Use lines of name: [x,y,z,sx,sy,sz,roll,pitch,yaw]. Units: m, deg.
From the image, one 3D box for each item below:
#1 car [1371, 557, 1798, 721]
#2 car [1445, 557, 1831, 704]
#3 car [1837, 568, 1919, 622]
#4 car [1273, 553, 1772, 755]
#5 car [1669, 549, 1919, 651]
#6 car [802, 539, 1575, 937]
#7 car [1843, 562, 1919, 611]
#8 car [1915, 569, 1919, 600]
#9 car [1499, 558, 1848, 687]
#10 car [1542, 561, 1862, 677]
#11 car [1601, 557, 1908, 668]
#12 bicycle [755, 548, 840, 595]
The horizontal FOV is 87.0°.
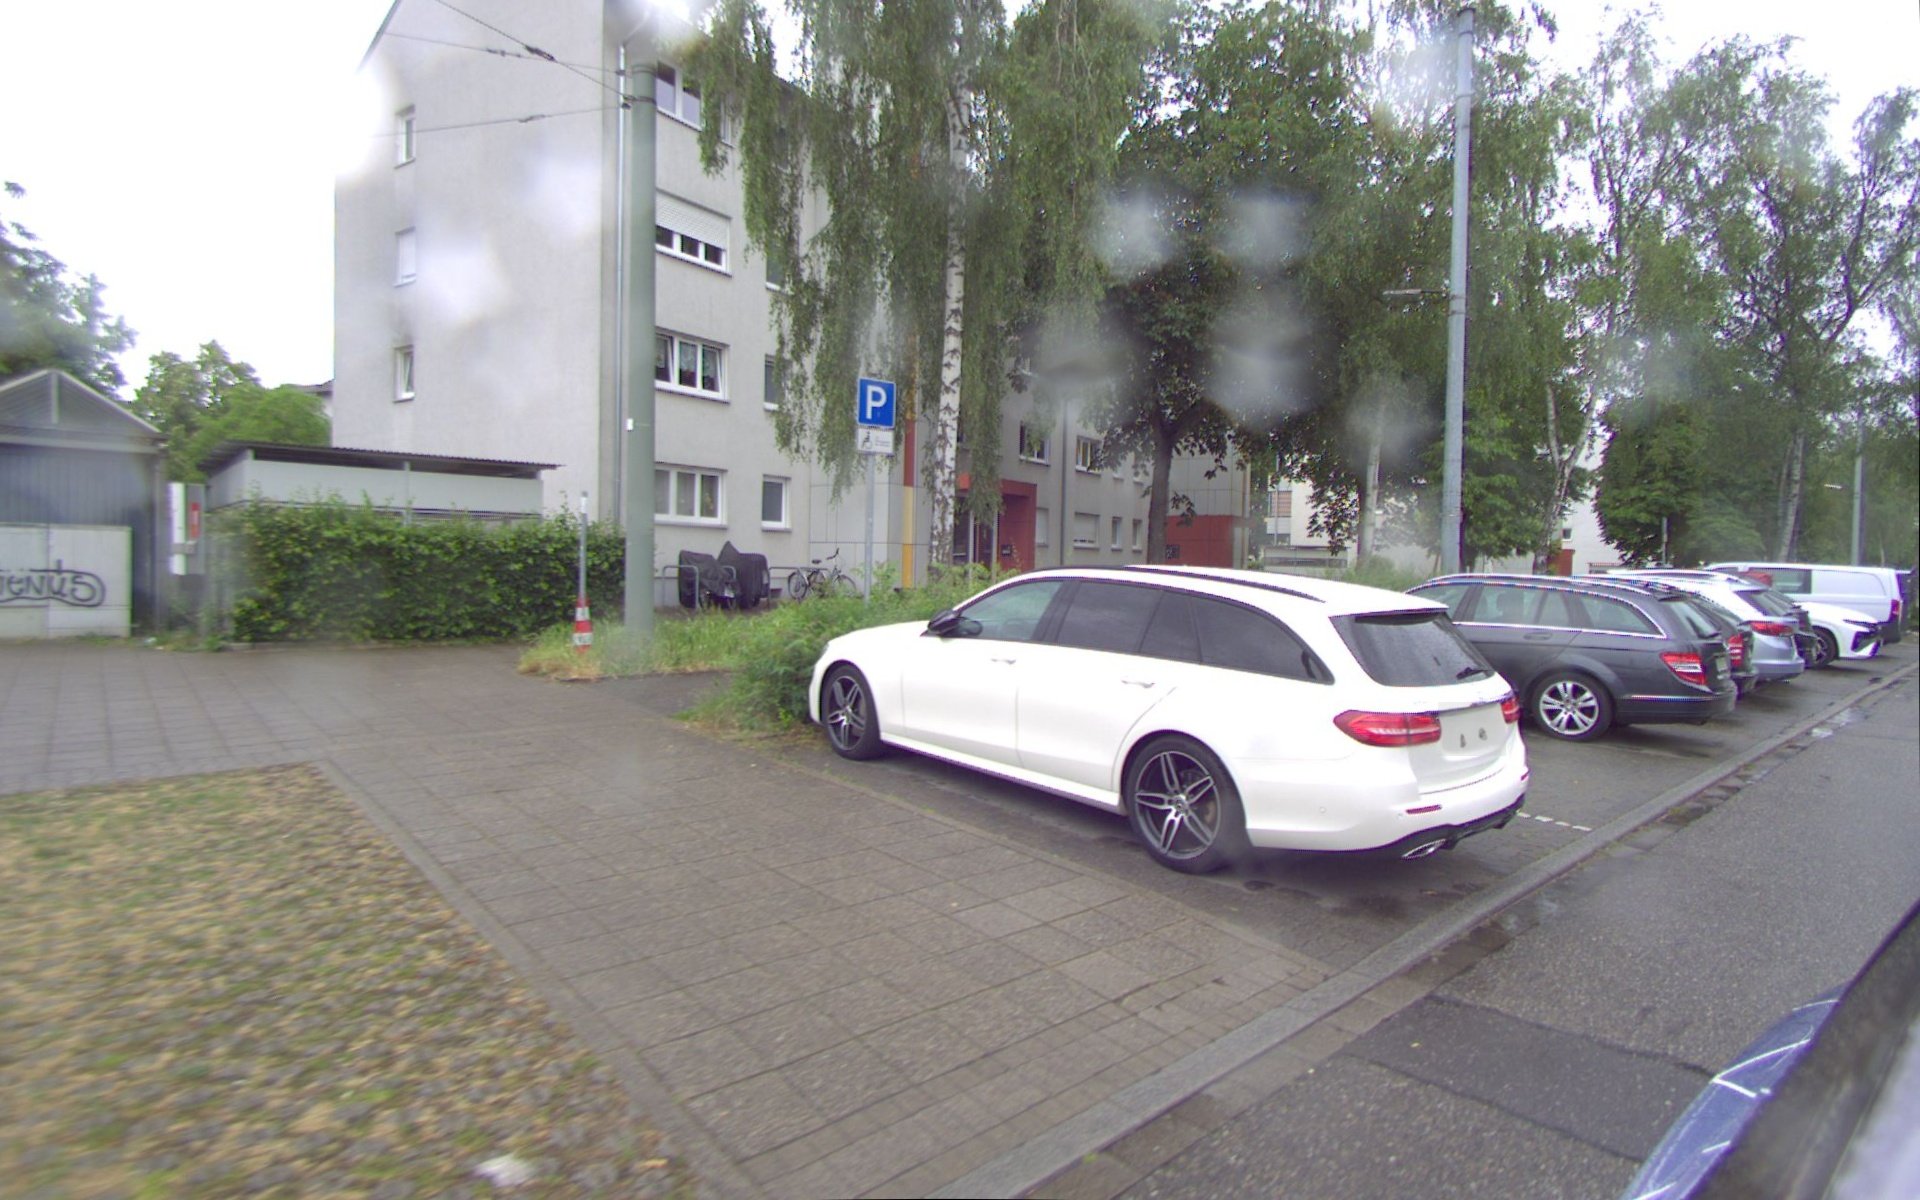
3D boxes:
car: [7.343,0.316,12.210,1.653,1.456,4.044,-1,5,-43]
car: [9.041,0.271,13.766,1.653,1.514,4.044,-1,5,-43]
car: [35.378,-0.200,37.526,1.866,1.937,3.998,-1,1,-36]
car: [5.455,0.357,10.228,1.653,1.456,4.044,-1,5,-43]
car: [18.412,-0.090,22.403,4.172,1.888,1.654,6,5,44]
car: [0.968,0.442,6.366,1.651,1.456,4.622,-1,5,-41]
car: [38.660,-0.568,41.019,1.866,1.937,3.998,-1,1,-36]
car: [54.204,-0.838,54.356,1.866,1.701,3.998,-1,1,-36]
car: [10.705,0.224,15.412,1.653,1.514,4.044,-1,5,-43]
car: [12.324,0.206,17.015,1.653,1.514,4.044,-1,5,-43]
car: [14.643,0.123,18.862,1.651,1.637,4.181,-1,5,-40]
bicycle: [-3.624,-0.628,22.727,0.701,1.005,1.918,0,1,38]
